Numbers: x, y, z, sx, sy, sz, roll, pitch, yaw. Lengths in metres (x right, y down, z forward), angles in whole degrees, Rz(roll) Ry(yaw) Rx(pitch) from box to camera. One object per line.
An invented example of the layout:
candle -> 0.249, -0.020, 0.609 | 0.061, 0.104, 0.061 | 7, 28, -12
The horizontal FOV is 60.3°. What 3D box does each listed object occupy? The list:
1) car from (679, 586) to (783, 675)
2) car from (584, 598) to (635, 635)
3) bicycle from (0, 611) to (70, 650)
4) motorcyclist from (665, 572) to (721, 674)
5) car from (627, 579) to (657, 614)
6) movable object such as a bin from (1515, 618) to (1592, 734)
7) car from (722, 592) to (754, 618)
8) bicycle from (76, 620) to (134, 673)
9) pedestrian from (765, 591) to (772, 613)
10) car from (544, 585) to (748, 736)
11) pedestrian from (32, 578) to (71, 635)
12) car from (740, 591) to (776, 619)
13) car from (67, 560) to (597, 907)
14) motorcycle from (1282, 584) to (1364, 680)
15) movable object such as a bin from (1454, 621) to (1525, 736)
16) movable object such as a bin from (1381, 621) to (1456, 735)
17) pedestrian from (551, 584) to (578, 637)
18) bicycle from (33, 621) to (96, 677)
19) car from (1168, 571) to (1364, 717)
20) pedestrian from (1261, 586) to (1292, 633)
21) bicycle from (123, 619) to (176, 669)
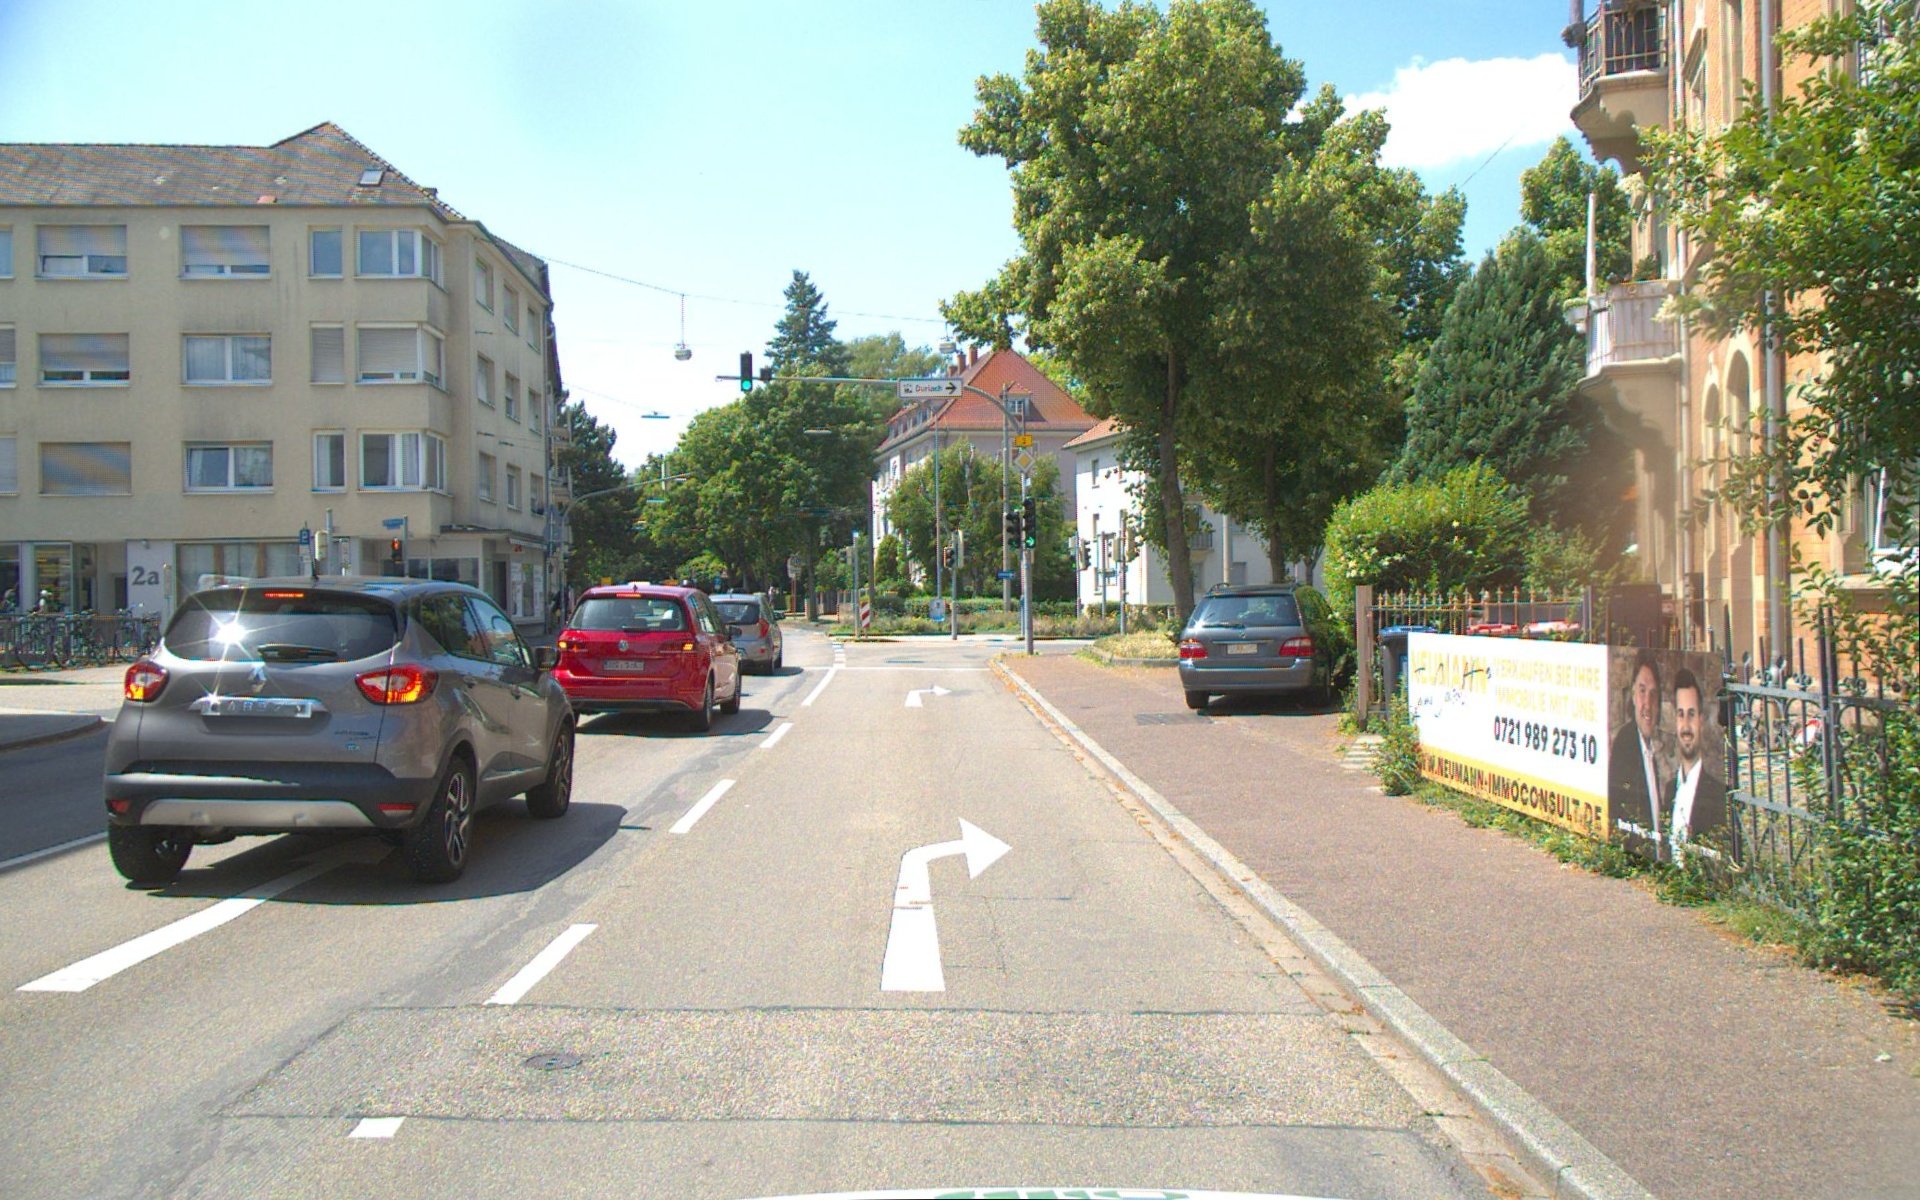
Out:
car -> -4.364, 0.549, 31.960 | 1.764, 1.585, 4.033 | -1, 0, -5
car -> -15.166, 0.732, 71.508 | 1.961, 1.546, 3.983 | 0, -1, -15
bicycle -> -25.780, 0.849, 46.034 | 1.703, 1.044, 0.498 | -1, 0, -4
motorcyclist -> -3.959, 0.336, 24.567 | 0.697, 1.471, 1.018 | -1, 0, -3
car -> -25.627, -0.260, 133.255 | 2.177, 2.544, 7.533 | -4, 0, -11
movable object such as a bin -> 5.818, 0.735, 16.229 | 0.563, 1.090, 0.706 | -1, 0, 8
car -> -16.795, 0.385, 125.162 | 1.960, 1.940, 3.985 | 0, 0, -14
bicycle -> -16.698, 0.893, 32.328 | 0.389, 0.984, 1.744 | -1, 0, -6
pedestrian -> -14.544, 0.171, 125.862 | 0.499, 1.685, 0.465 | 0, 0, -9
car -> -3.577, 0.641, 19.499 | 1.762, 1.585, 4.036 | 0, 0, -2
pedestrian -> -24.388, 0.177, 44.395 | 0.672, 1.501, 0.648 | -1, 0, -1
car -> -13.711, 0.324, 112.087 | 1.960, 1.839, 3.985 | 0, 0, -14
car -> -3.462, 0.632, 9.974 | 1.718, 1.660, 3.999 | 0, 0, -1
motorcycle -> 5.564, 0.462, 25.278 | 0.911, 1.325, 2.282 | -2, 1, 19
movable object such as a bin -> 5.239, 0.765, 16.380 | 0.540, 1.090, 0.706 | -1, 0, 8
movable object such as a bin -> 4.562, 0.769, 16.481 | 0.635, 1.090, 0.637 | -1, 0, 8
pedestrian -> -14.853, 0.407, 62.111 | 0.919, 1.965, 0.973 | -1, 0, -14
bicycle -> -16.479, 0.887, 30.465 | 0.389, 0.984, 1.716 | -1, 0, -6
car -> 4.132, 0.476, 21.626 | 1.796, 1.575, 5.159 | -2, 1, 18
pedestrian -> 11.909, 0.346, 62.223 | 0.826, 1.735, 0.755 | -1, 0, -29
bicycle -> -16.856, 0.911, 34.437 | 0.389, 0.984, 1.781 | -1, 0, -6
